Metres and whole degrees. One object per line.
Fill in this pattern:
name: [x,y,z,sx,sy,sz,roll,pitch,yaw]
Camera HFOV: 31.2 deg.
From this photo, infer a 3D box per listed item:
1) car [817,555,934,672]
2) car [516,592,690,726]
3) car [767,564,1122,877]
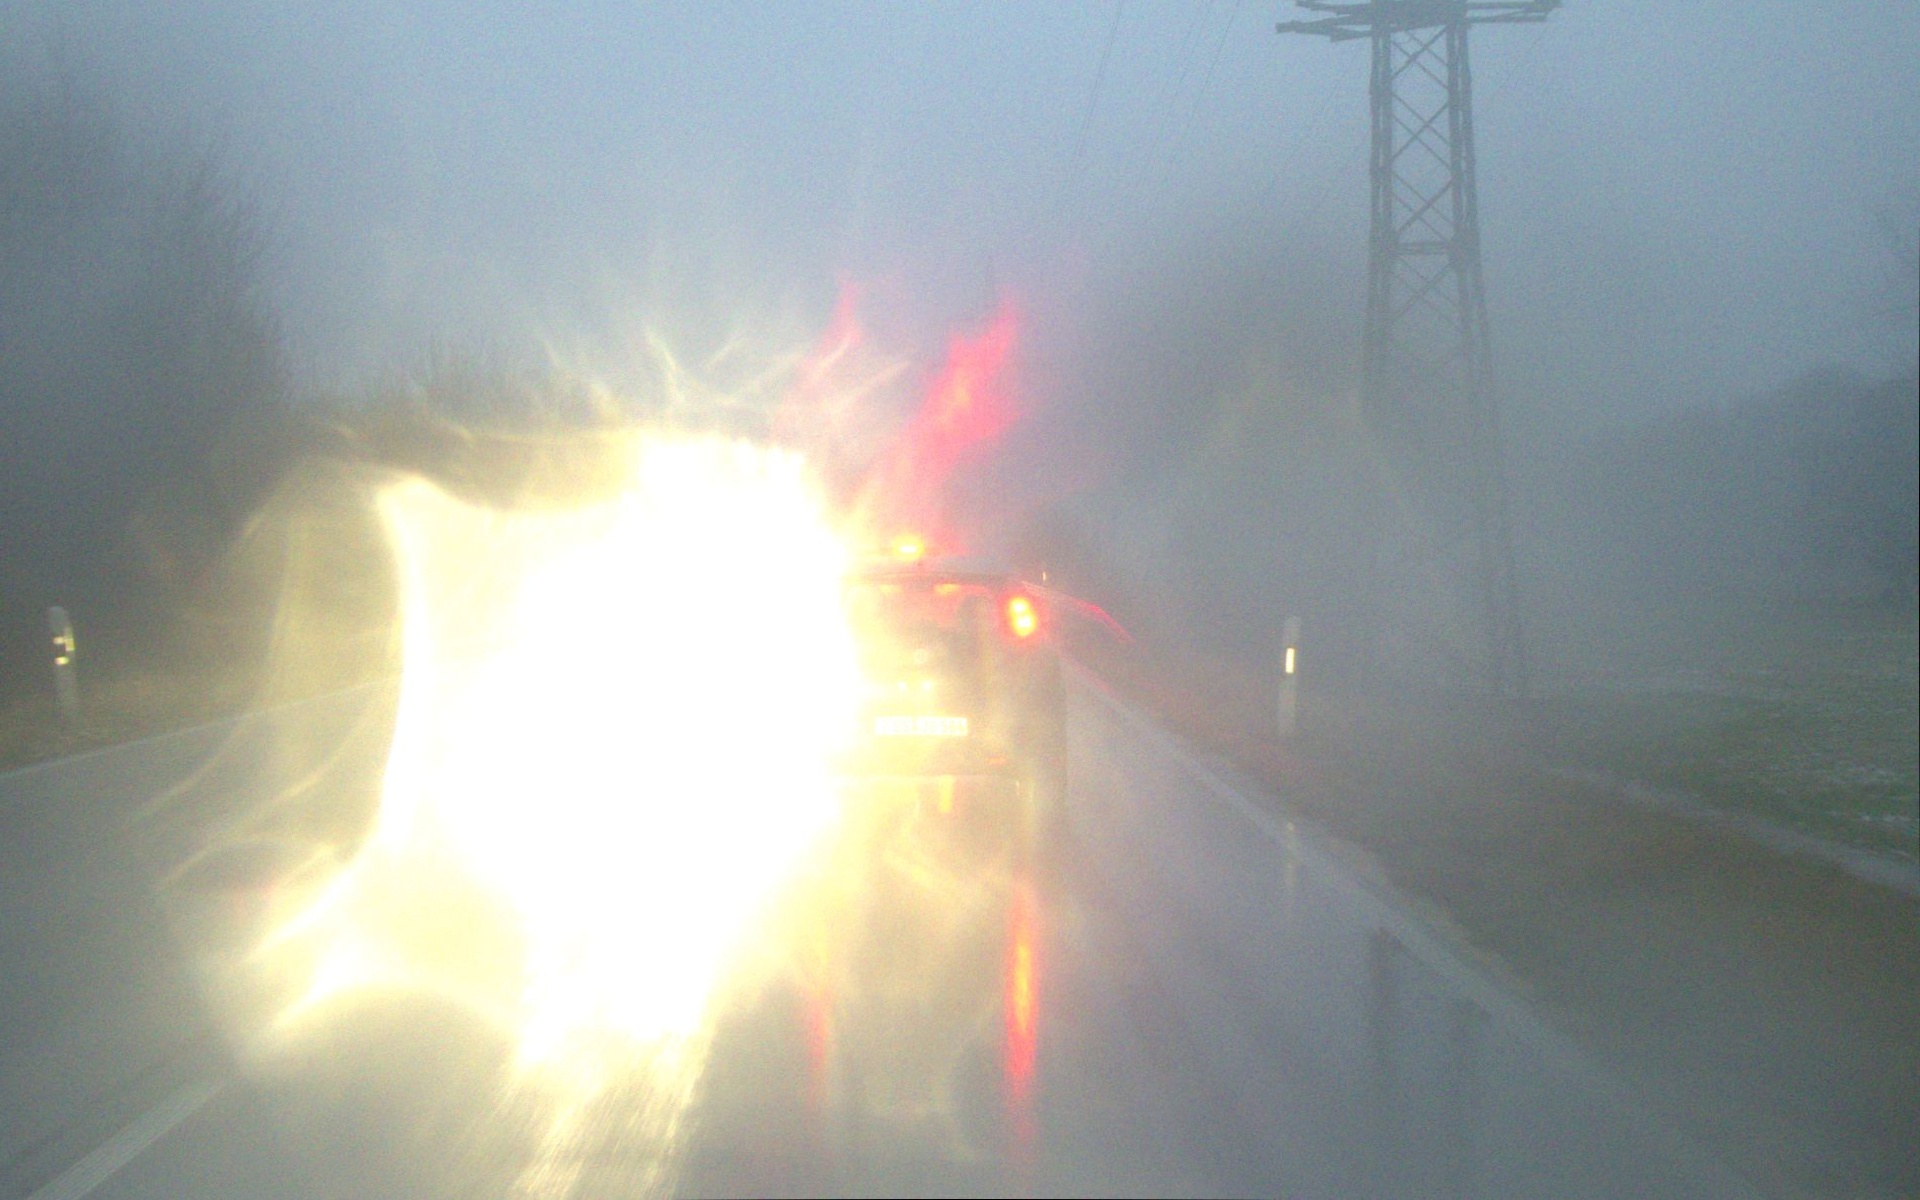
car: [-1.483,0.208,61.499,1.993,2.007,4.000,-1,1,-1]
car: [-4.656,0.737,45.389,1.807,1.531,4.408,3,1,-1]
car: [-0.117,0.660,21.384,1.993,1.746,4.000,0,1,-1]
